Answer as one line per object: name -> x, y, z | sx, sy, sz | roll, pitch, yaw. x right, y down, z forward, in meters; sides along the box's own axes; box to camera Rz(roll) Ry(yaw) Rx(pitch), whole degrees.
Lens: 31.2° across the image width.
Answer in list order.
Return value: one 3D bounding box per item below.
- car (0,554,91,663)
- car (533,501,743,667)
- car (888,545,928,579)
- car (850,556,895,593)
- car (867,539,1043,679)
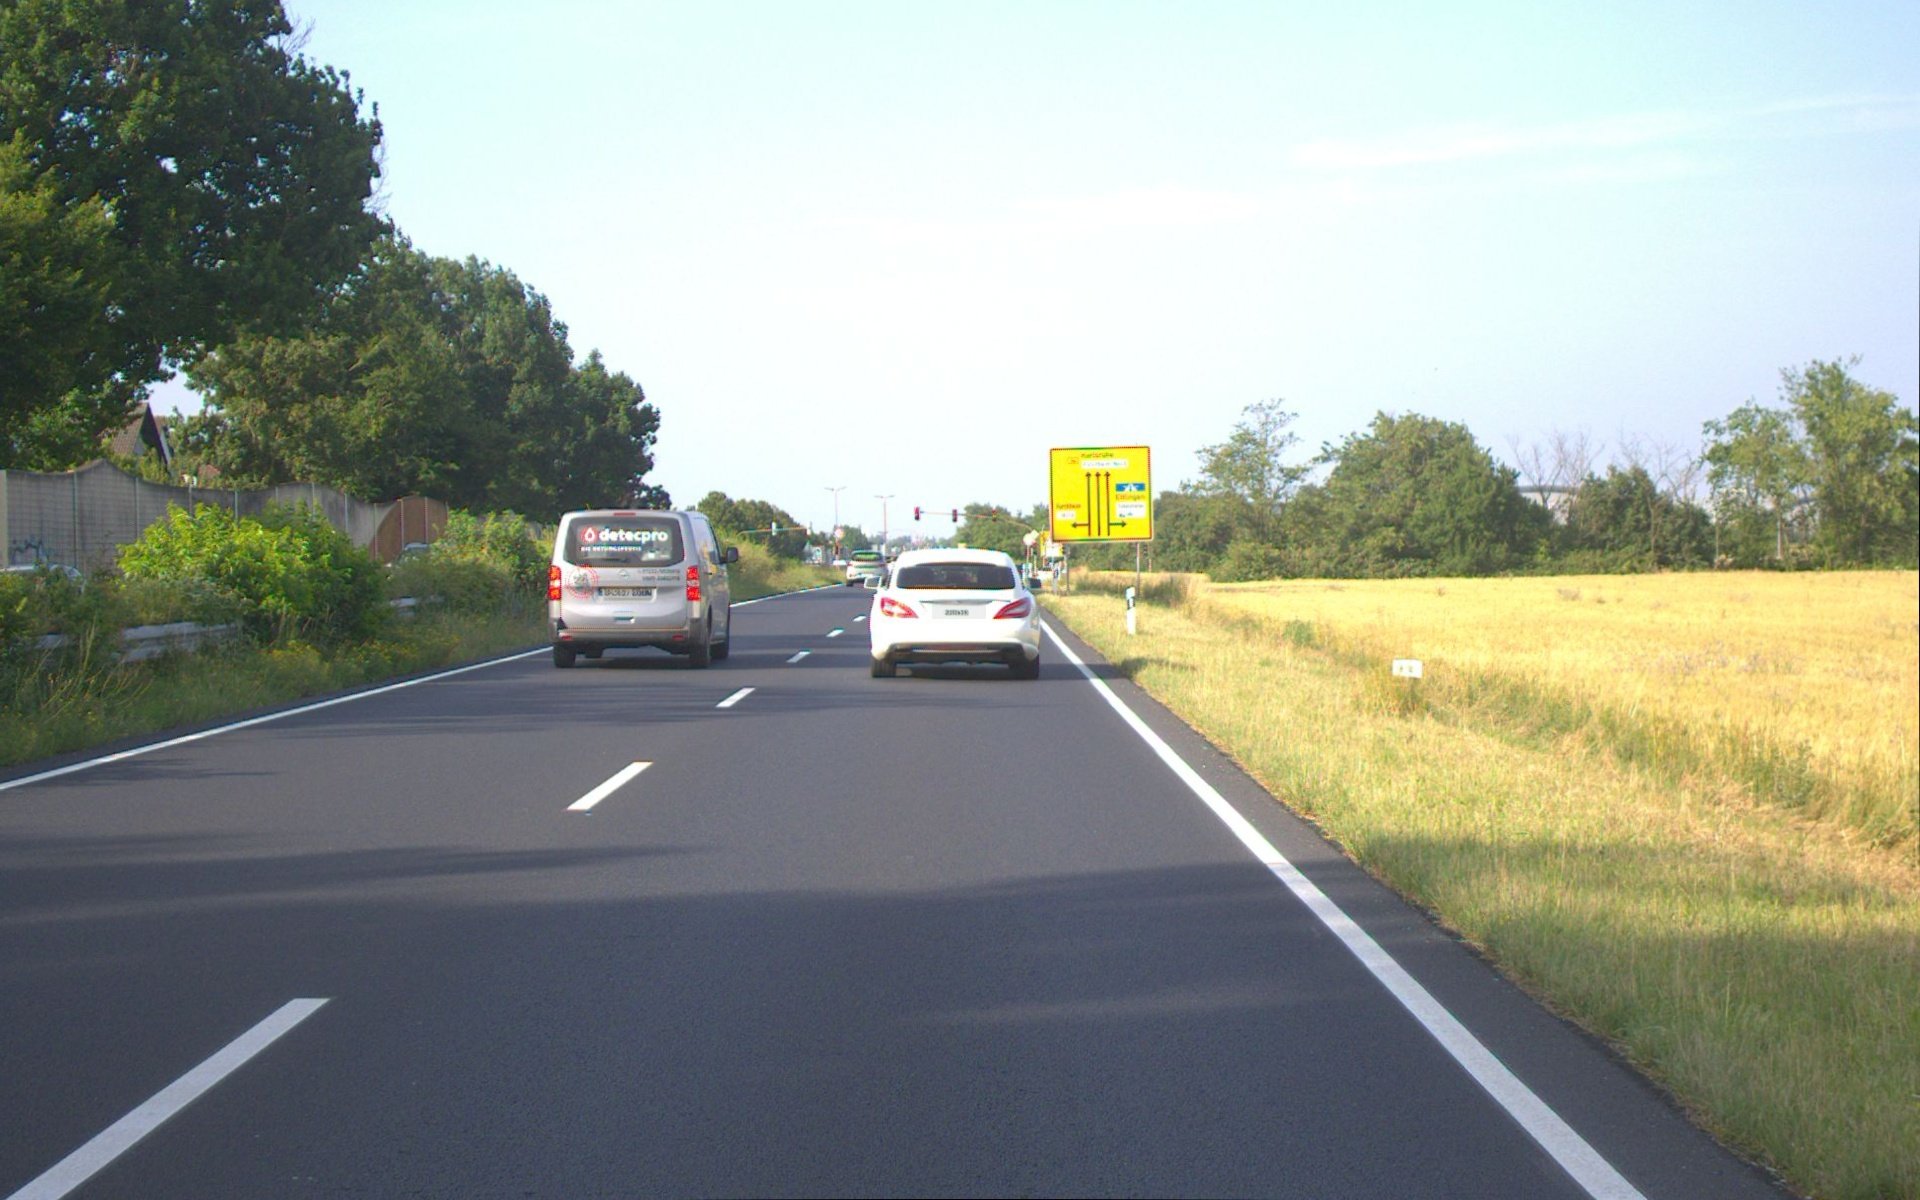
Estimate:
car -> -15.006, 0.112, 54.104 | 1.807, 1.656, 3.335 | 1, 0, 0
car -> -3.869, -0.225, 42.070 | 2.025, 1.885, 4.958 | 1, 1, 1
car -> -2.566, -1.874, 169.488 | 1.877, 1.645, 3.664 | 1, 0, -2
car -> -3.573, -1.056, 140.893 | 1.717, 1.487, 3.584 | 1, 0, 0
car -> -0.067, 0.077, 38.857 | 1.894, 1.503, 4.000 | 0, 0, 0
